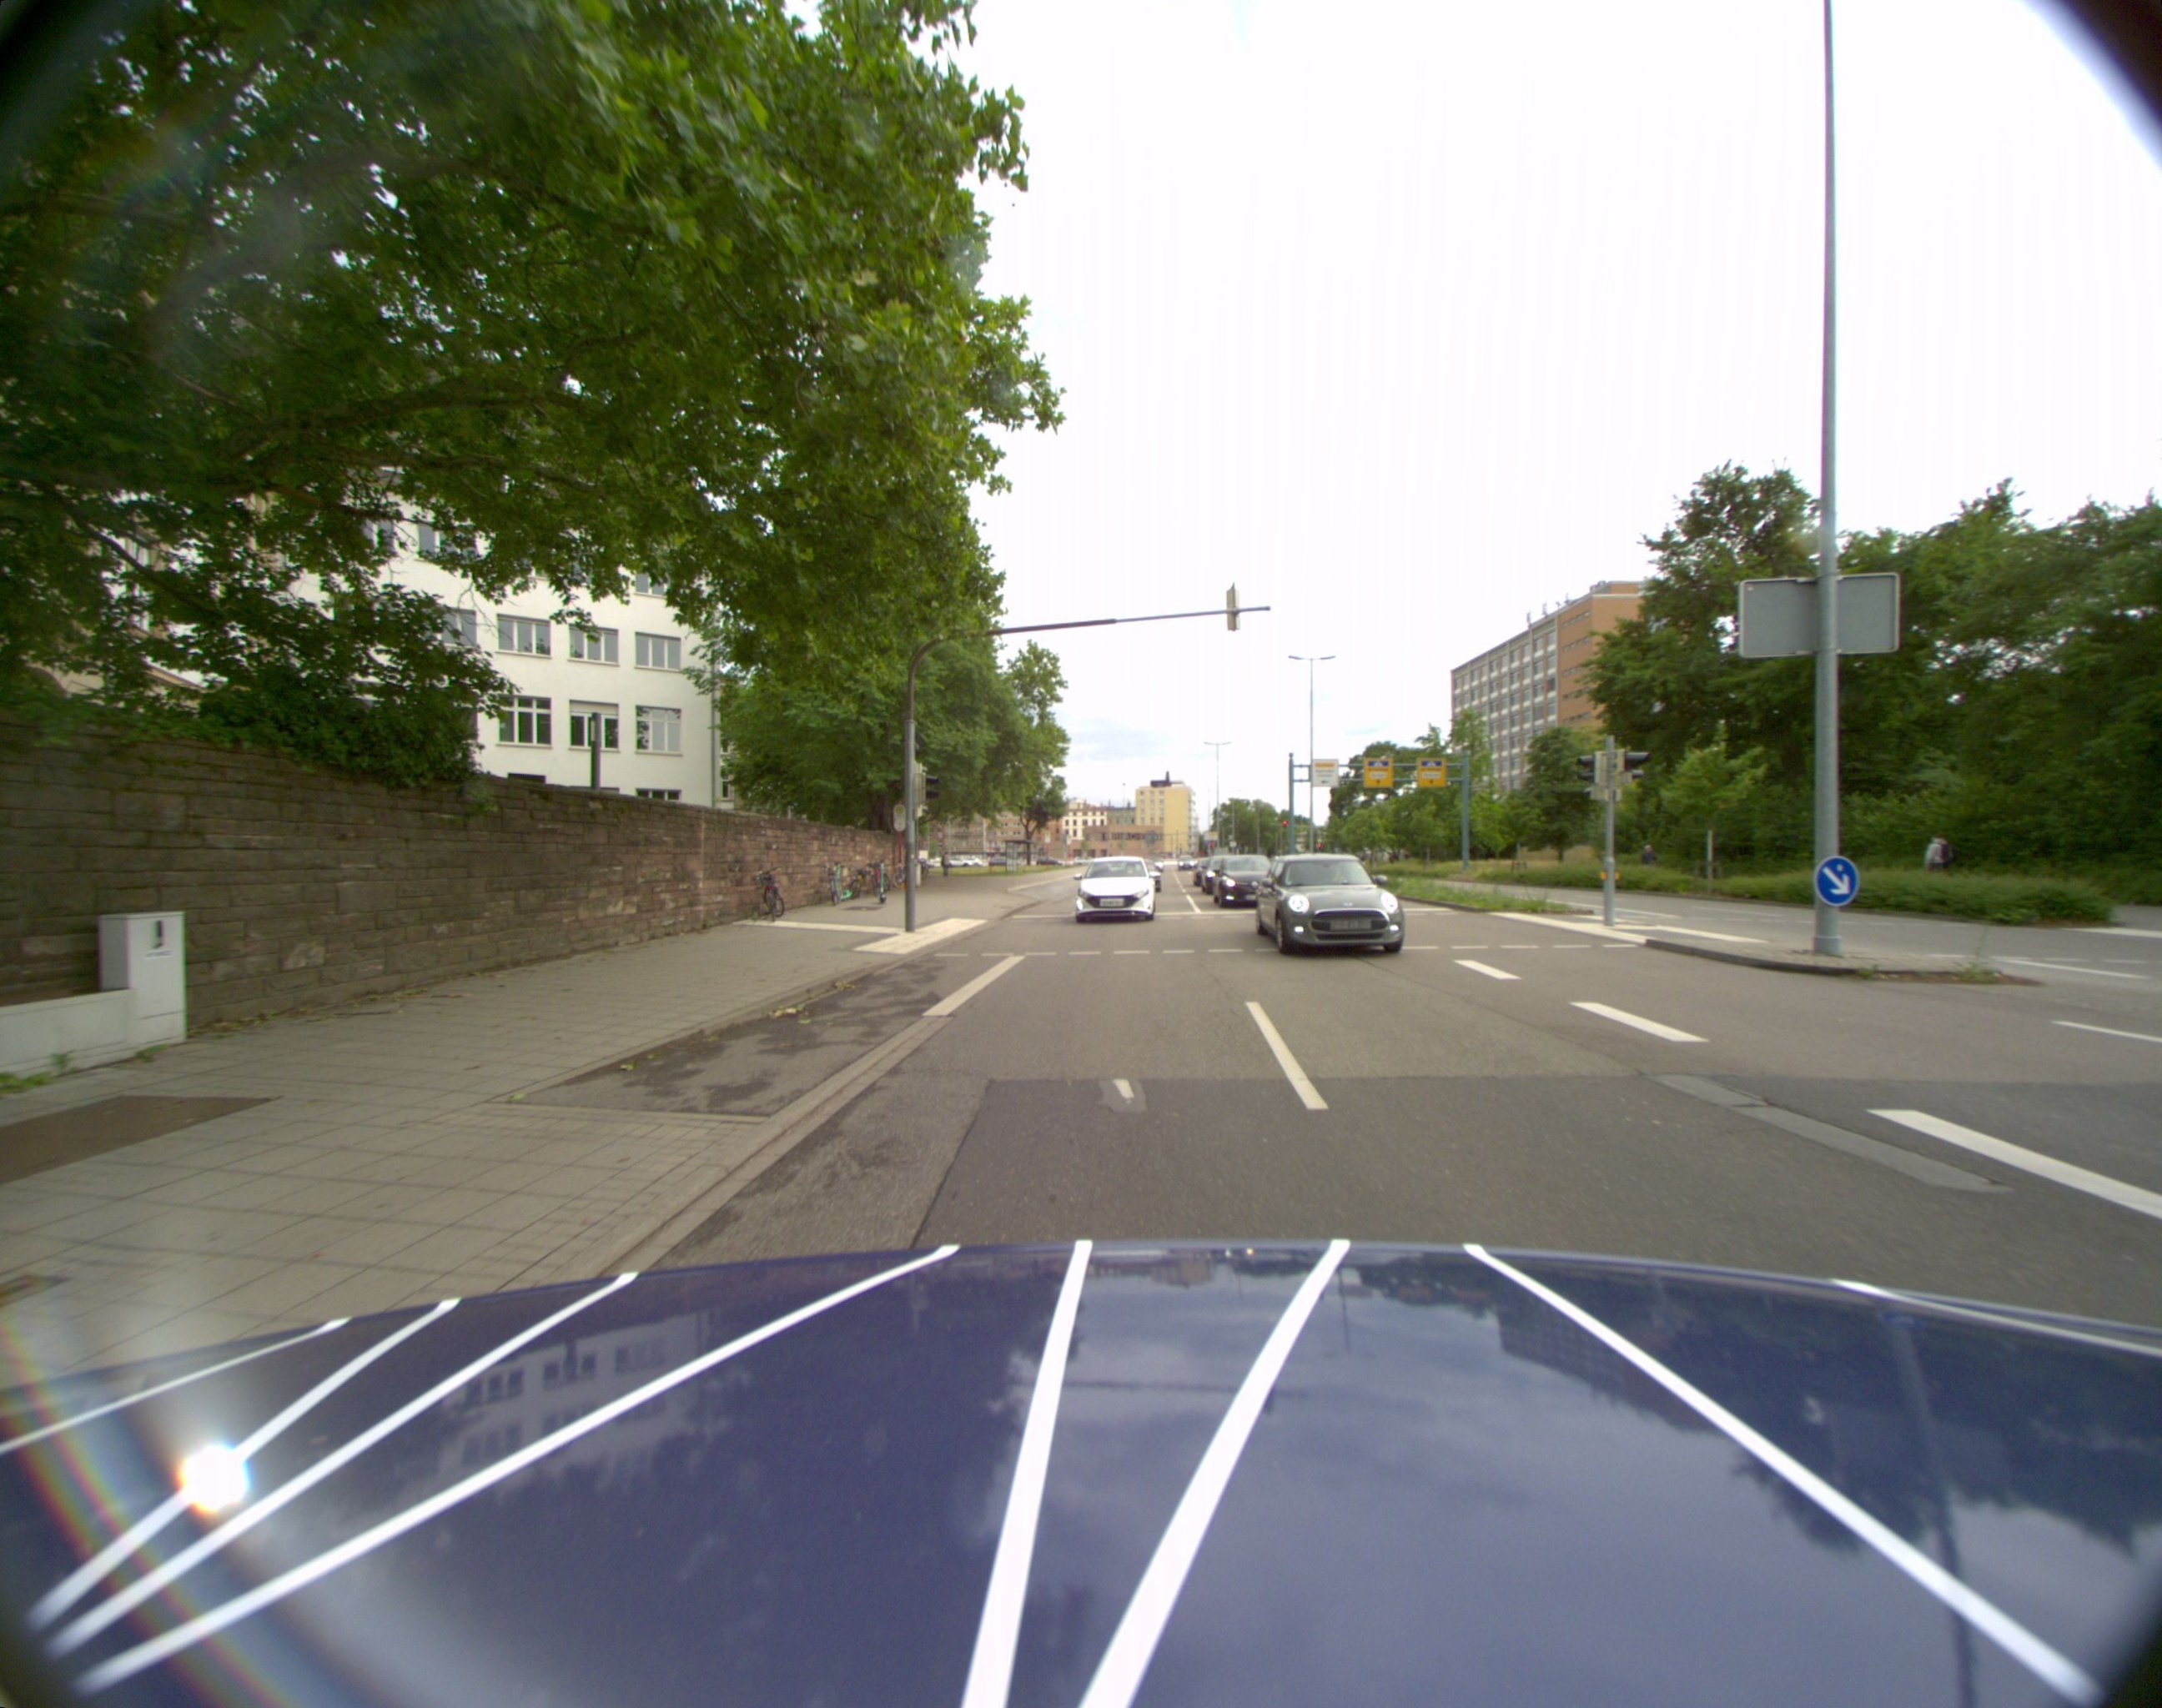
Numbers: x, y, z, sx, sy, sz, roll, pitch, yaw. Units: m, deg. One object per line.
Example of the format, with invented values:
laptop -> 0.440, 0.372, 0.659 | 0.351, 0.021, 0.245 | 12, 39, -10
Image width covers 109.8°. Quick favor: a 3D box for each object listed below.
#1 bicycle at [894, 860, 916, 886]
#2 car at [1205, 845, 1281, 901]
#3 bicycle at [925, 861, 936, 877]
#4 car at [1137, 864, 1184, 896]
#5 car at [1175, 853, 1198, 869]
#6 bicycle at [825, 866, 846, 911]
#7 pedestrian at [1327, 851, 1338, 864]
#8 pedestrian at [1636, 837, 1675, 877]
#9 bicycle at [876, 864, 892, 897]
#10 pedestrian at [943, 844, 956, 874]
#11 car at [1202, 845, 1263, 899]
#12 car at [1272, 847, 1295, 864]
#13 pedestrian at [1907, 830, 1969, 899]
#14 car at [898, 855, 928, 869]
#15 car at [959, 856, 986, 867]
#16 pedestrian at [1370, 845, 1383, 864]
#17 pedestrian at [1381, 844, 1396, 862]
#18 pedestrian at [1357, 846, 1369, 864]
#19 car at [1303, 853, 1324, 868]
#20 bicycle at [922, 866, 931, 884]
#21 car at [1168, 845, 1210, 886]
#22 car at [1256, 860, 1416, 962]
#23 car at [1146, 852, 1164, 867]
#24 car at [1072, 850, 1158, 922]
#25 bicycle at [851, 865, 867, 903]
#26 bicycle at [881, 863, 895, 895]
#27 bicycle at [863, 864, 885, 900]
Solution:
bicycle -> -7.472, 0.795, 32.372 | 0.478, 1.070, 2.082 | 0, 0, -1
car -> 4.516, 0.488, 21.672 | 1.731, 1.450, 4.002 | 0, 0, 6
bicycle -> -9.225, 0.898, 46.536 | 0.482, 0.934, 1.896 | 0, 0, -16
car -> 3.319, 1.038, 31.287 | 1.702, 1.181, 2.832 | -2, 0, 10
car -> 10.586, 0.679, 76.444 | 1.998, 1.536, 4.001 | -2, 0, 5
bicycle -> -6.728, 0.916, 20.904 | 0.386, 1.137, 1.939 | -2, 0, -14
pedestrian -> 38.769, 0.489, 117.005 | 1.223, 2.002, 1.521 | -2, 0, 5
pedestrian -> 23.992, 0.128, 31.727 | 0.990, 1.616, 0.813 | -2, 1, 3
bicycle -> -7.050, 0.924, 27.197 | 0.339, 1.137, 1.940 | -2, 0, -10
pedestrian -> -8.919, 0.343, 51.561 | 0.784, 2.003, 0.887 | 1, 3, -15
car -> 5.869, 0.650, 29.826 | 1.997, 2.002, 4.002 | 0, 0, 6
car -> 22.402, 0.131, 84.145 | 1.892, 1.763, 4.002 | -2, 0, 6
pedestrian -> 25.772, 0.302, 22.860 | 0.908, 2.002, 0.823 | -2, 1, 10
car -> -26.711, 1.283, 120.902 | 4.281, 2.002, 2.000 | -2, 0, 2
car -> -17.224, 1.149, 120.361 | 3.997, 1.760, 2.000 | 0, 0, 0
pedestrian -> 33.087, 0.059, 84.981 | 0.881, 2.002, 1.221 | -2, 0, -2
pedestrian -> 32.334, -0.123, 79.899 | 1.137, 1.907, 1.163 | -2, 0, 9
pedestrian -> 32.115, 0.076, 86.582 | 0.881, 2.002, 1.221 | -2, 0, -2
car -> 25.382, 0.650, 83.091 | 1.853, 1.543, 4.004 | -1, 0, 12
bicycle -> -8.860, 1.189, 43.450 | 0.365, 0.934, 1.638 | 0, 0, -16
car -> 5.537, 0.539, 39.335 | 1.997, 2.002, 4.002 | 0, 0, 6
car -> 3.795, 0.768, 11.925 | 1.624, 1.310, 3.707 | 0, 0, 6
car -> 7.160, 0.499, 73.548 | 1.605, 1.360, 3.580 | -2, 0, 5
car -> 0.918, 0.681, 18.268 | 1.812, 1.533, 4.002 | 0, 0, 6
bicycle -> -7.024, 0.924, 24.067 | 0.386, 1.137, 1.939 | -2, 0, -14
bicycle -> -7.380, 0.935, 29.033 | 0.339, 1.137, 1.676 | -2, 0, -10
bicycle -> -6.976, 0.922, 25.568 | 0.386, 1.137, 1.938 | -2, 0, -25
